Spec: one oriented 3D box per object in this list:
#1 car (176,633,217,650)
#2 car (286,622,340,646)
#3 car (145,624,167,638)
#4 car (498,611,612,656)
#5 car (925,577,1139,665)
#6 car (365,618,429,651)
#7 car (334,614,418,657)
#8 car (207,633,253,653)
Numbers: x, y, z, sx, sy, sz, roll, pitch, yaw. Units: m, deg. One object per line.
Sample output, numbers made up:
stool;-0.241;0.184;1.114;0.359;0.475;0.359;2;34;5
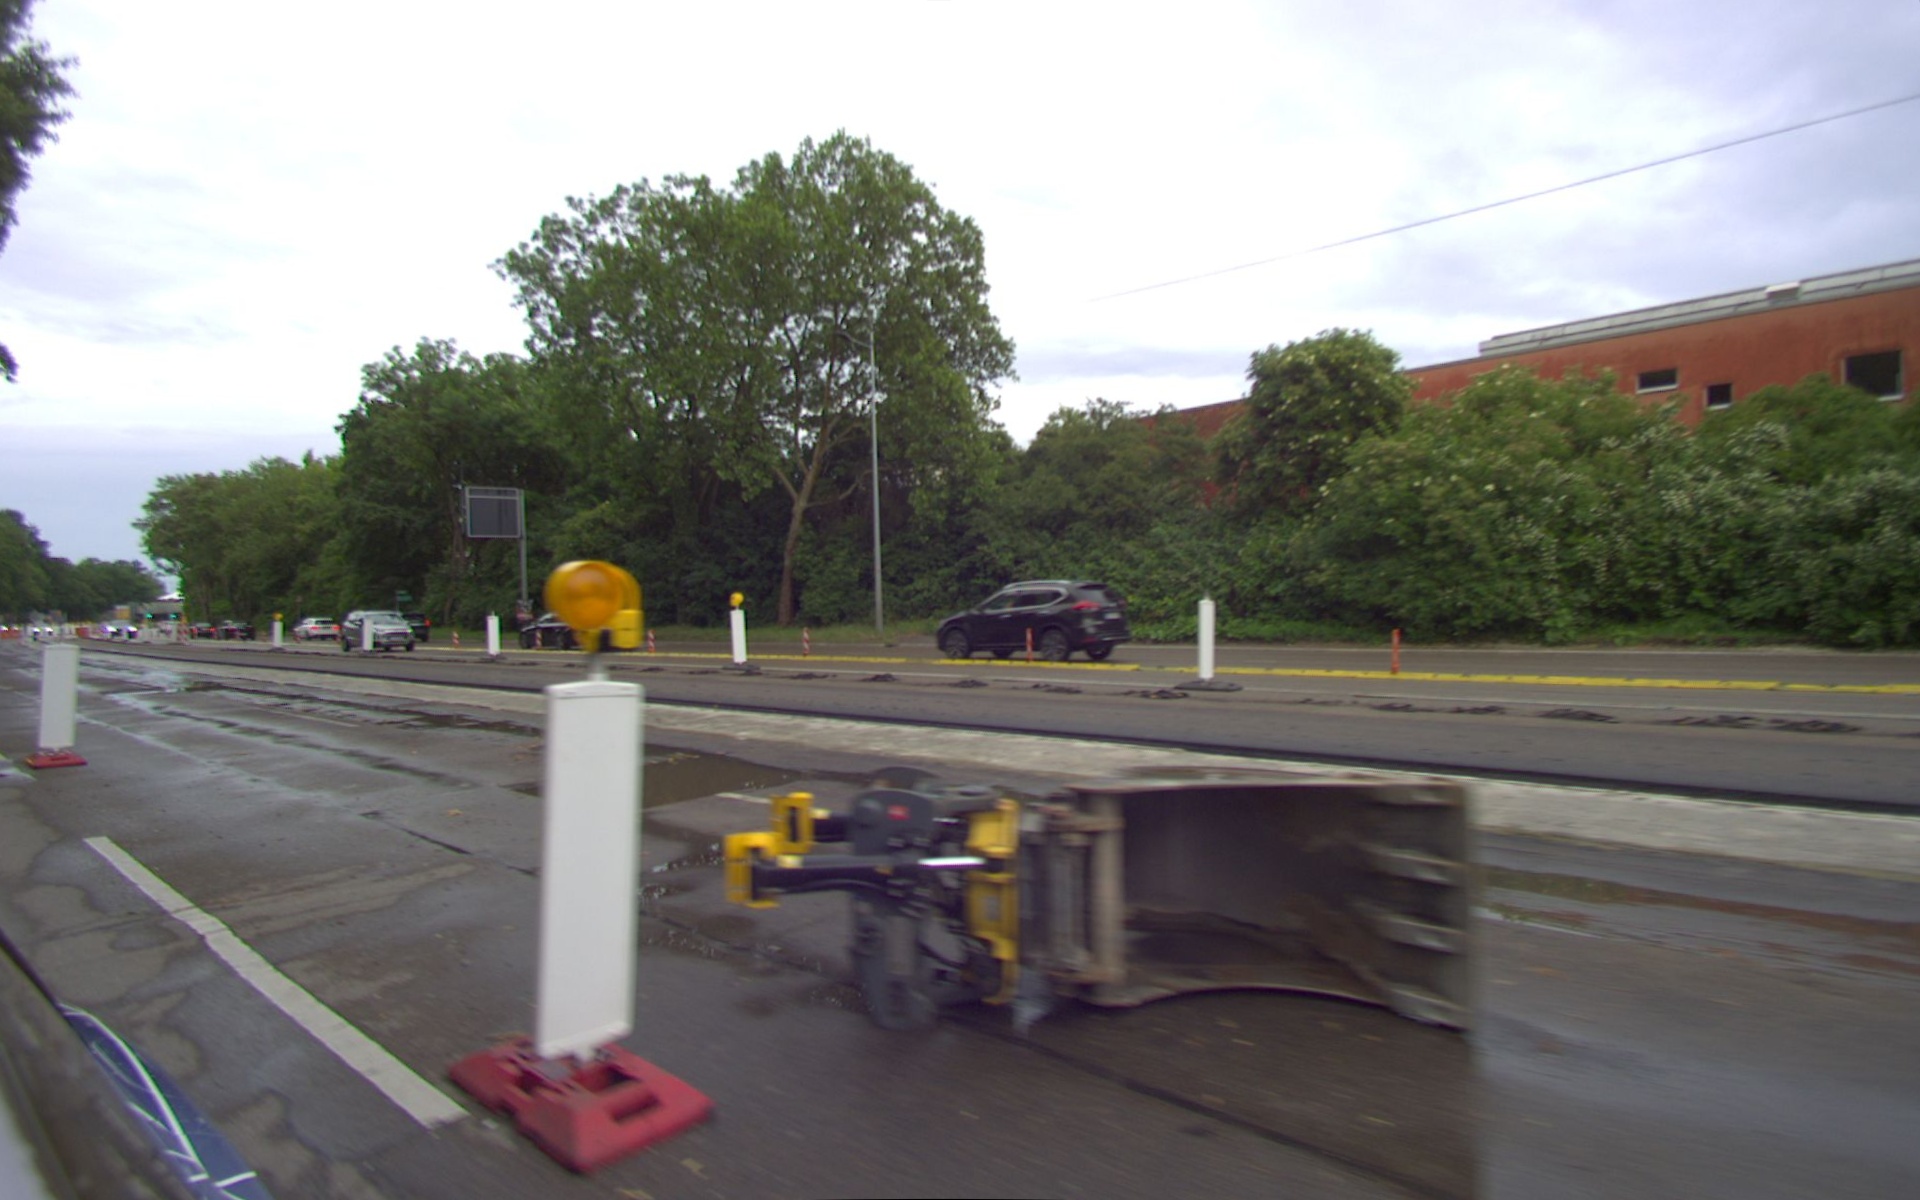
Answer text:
car;-61.662;3.375;81.708;4.388;1.366;1.798;-3;-3;42
car;-42.478;2.269;66.393;4.601;1.430;1.799;-3;-1;42
car;-112.961;4.366;142.244;4.380;1.764;1.757;-2;-2;43
car;-14.663;1.219;36.513;4.897;1.495;1.742;-2;-1;41
car;1.475;0.461;22.006;4.491;1.735;1.717;-2;-1;41
car;-30.521;1.888;54.802;4.531;1.698;1.636;-3;-1;42
car;-23.074;1.394;39.965;3.860;1.596;1.770;-2;-1;42
car;-51.598;3.049;71.513;4.203;1.366;1.798;-3;-3;42
